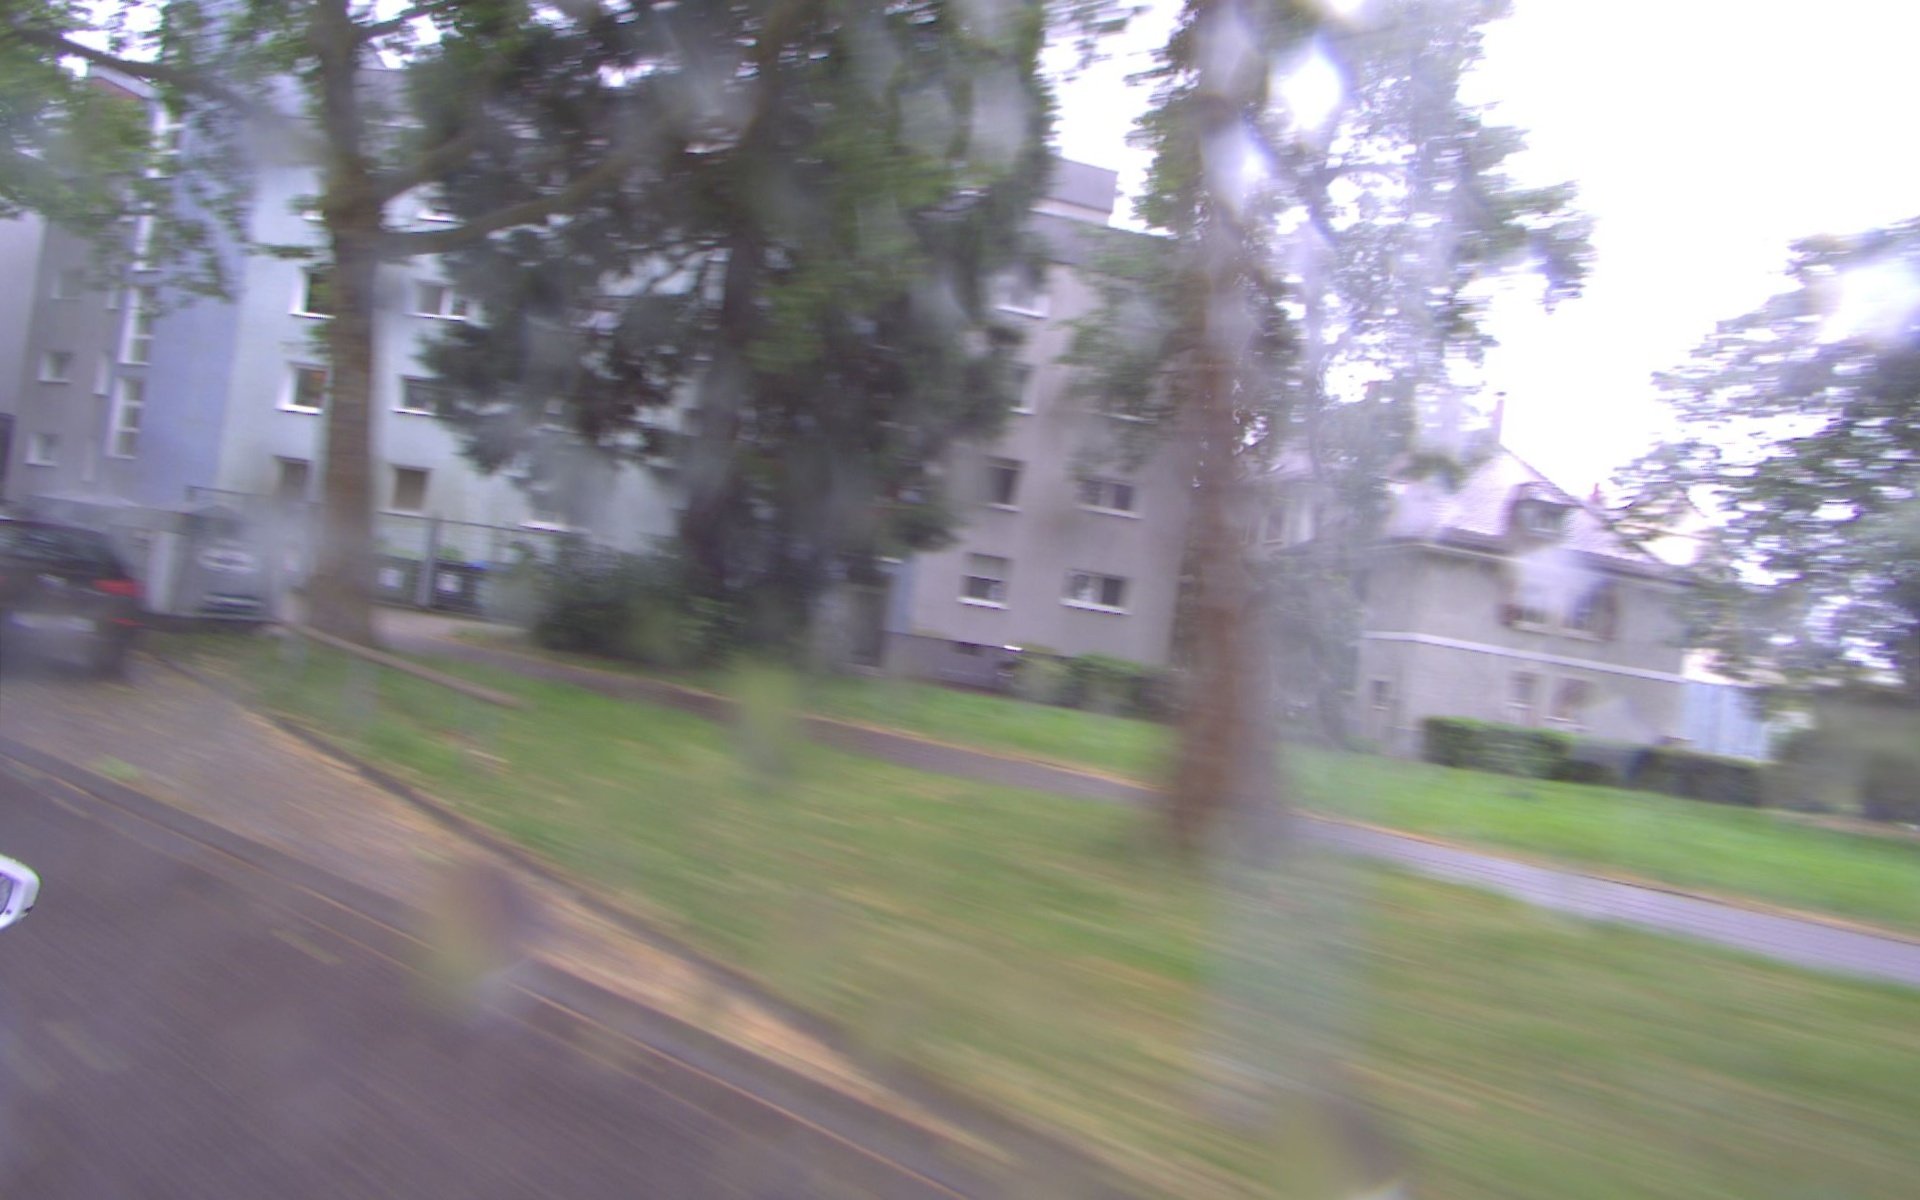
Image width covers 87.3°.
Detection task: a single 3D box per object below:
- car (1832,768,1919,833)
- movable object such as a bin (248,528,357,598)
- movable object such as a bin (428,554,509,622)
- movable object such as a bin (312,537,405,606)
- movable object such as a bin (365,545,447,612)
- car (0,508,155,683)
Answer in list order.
[{"bbox_3d":[32.765,7.023,34.174,1.968,1.763,4.299,9,-3,-11],"label":"car"},{"bbox_3d":[-16.846,-0.930,25.803,1.827,1.448,1.218,8,-2,7],"label":"movable object such as a bin"},{"bbox_3d":[-12.147,-0.285,24.909,1.200,1.491,1.162,8,1,7],"label":"movable object such as a bin"},{"bbox_3d":[-15.260,-0.710,25.564,1.344,1.448,1.323,8,-2,7],"label":"movable object such as a bin"},{"bbox_3d":[-13.846,-0.528,25.157,1.200,1.491,1.162,8,1,7],"label":"movable object such as a bin"},{"bbox_3d":[-9.665,-0.241,9.529,4.077,1.405,1.554,7,-3,28],"label":"car"}]
